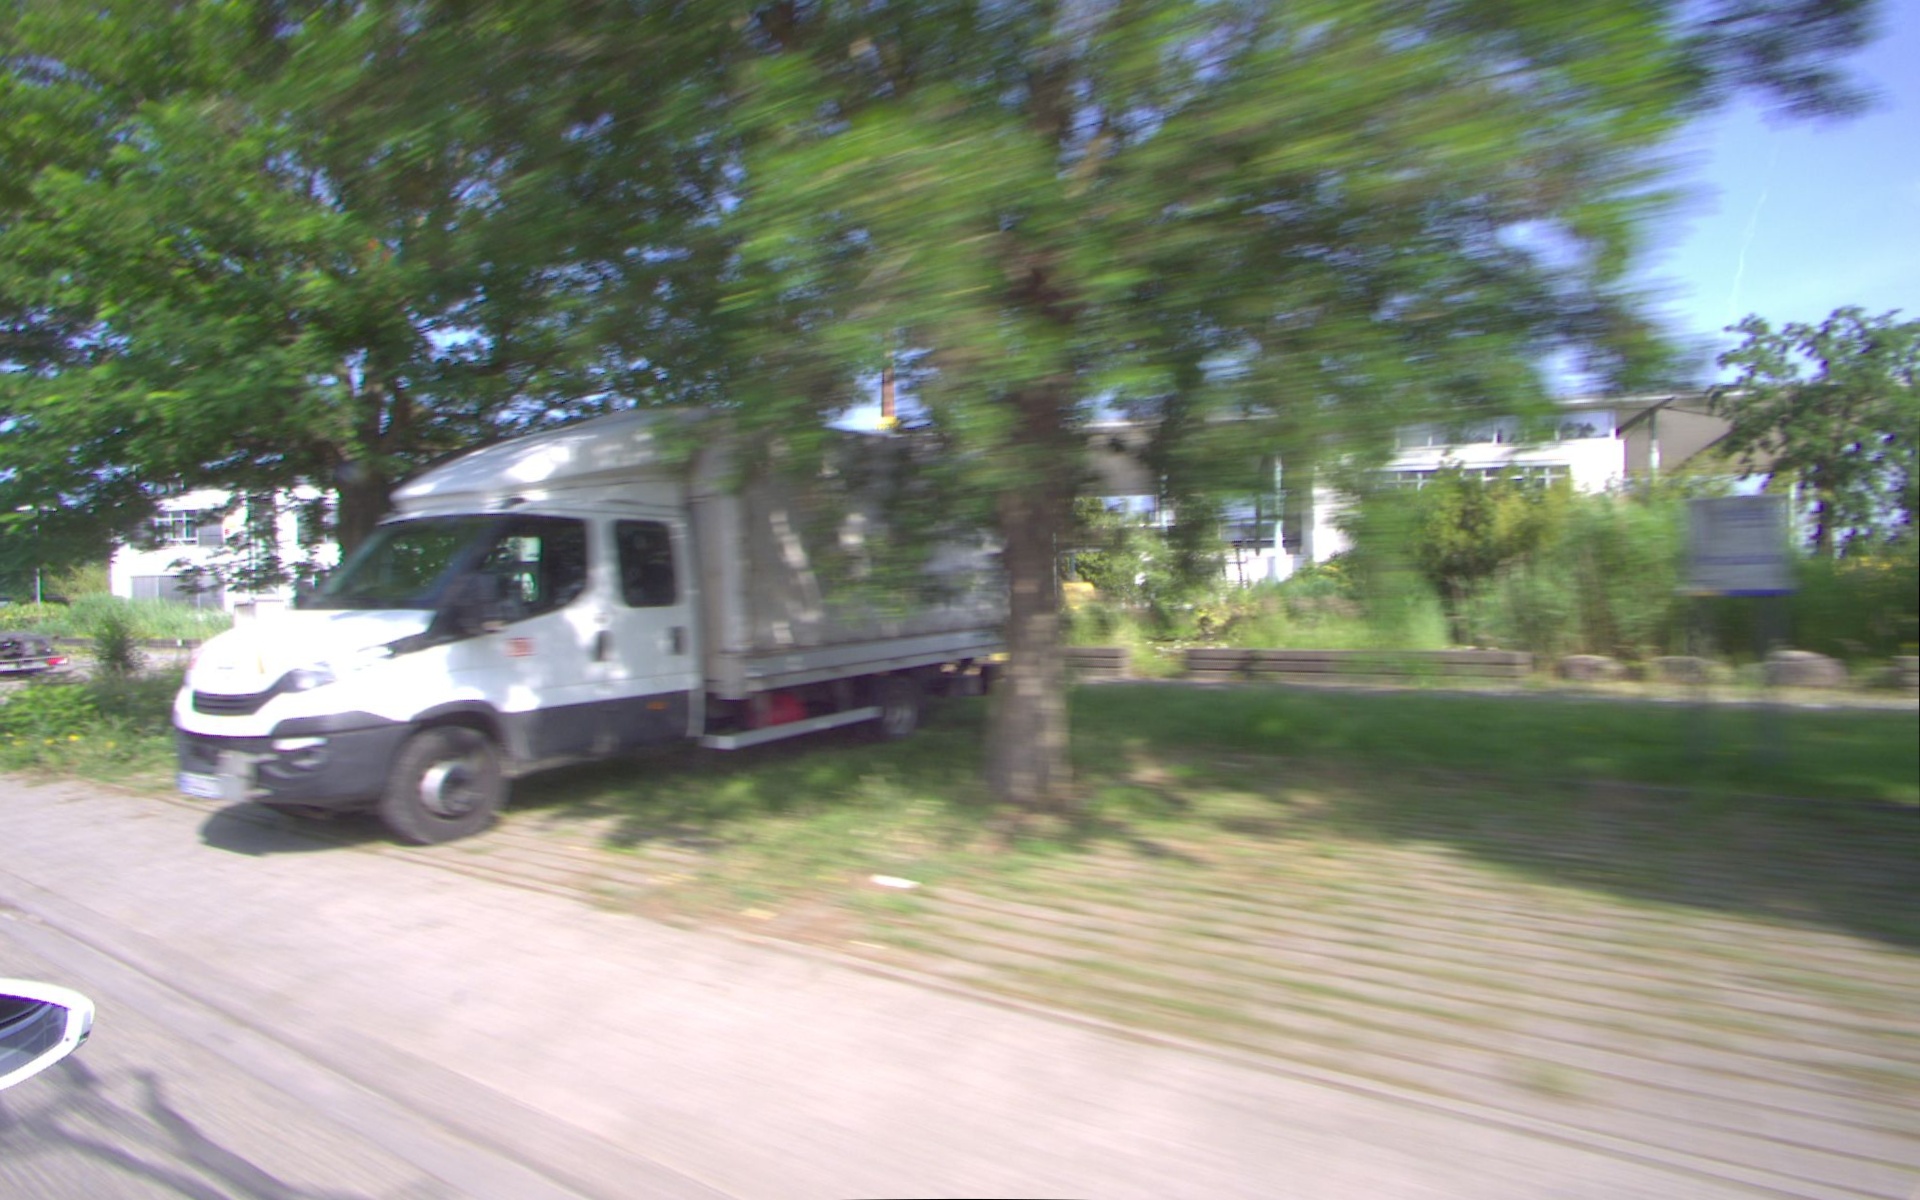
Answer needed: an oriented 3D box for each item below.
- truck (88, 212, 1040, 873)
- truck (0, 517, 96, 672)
[{"bbox_3d":[-2.408,-0.298,9.371,2.703,3.414,8.189,-2,0,32],"label":"truck"},{"bbox_3d":[-26.054,0.001,26.037,9.624,3.584,2.878,-2,3,35],"label":"truck"}]
